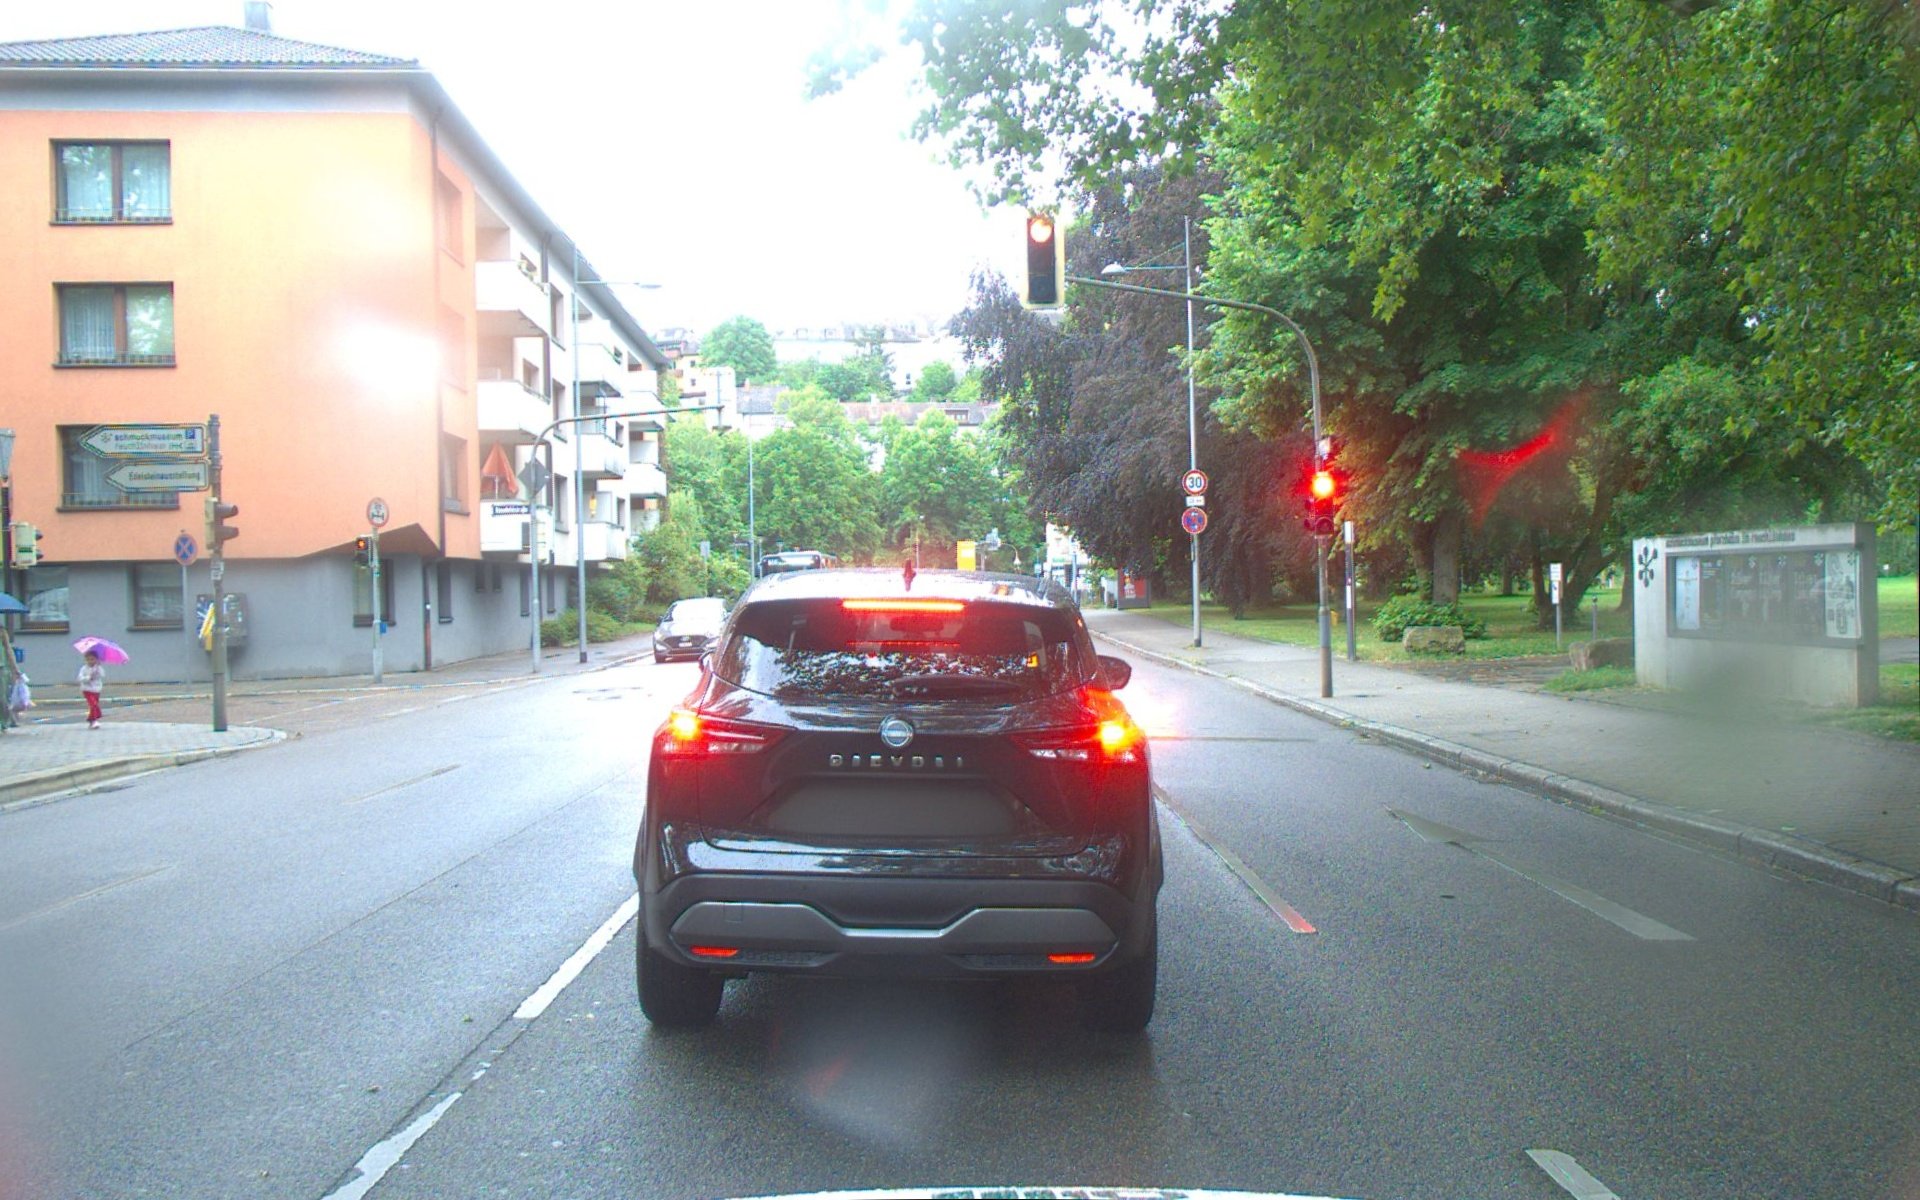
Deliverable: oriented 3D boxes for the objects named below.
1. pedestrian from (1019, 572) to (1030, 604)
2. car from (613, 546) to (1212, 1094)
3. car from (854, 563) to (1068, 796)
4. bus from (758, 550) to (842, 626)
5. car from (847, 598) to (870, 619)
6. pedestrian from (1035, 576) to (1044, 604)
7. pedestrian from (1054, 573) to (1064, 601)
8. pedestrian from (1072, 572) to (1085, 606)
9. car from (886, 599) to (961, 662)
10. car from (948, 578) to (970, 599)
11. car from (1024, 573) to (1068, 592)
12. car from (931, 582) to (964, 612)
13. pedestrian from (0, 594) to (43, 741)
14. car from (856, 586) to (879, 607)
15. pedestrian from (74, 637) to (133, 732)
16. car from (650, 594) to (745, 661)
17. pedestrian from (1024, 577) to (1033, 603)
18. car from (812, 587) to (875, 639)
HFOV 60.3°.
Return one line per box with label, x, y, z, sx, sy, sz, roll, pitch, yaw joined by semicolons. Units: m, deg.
pedestrian;4.515;-0.830;115.406;0.752;2.222;0.711;1;-1;2
car;-0.165;0.669;6.961;1.769;1.618;3.999;1;0;-1
car;0.033;0.599;14.641;1.588;1.738;3.771;-2;0;1
bus;-6.991;-0.498;73.797;2.710;3.026;11.779;-1;0;-1
car;-7.943;0.652;130.085;1.643;1.495;4.215;-3;1;-2
pedestrian;4.983;-0.621;103.423;0.504;1.684;0.550;1;-1;-1
pedestrian;6.418;-0.860;107.223;0.606;1.810;0.550;-2;0;-1
pedestrian;6.367;-0.584;88.771;0.606;1.810;0.778;-2;0;-1
car;-0.929;0.726;40.950;1.772;1.442;4.029;0;0;-2
car;-0.078;-0.955;136.407;1.714;1.662;3.634;-2;1;0
car;8.498;-1.759;164.037;3.916;1.713;1.995;-2;0;-11
car;-0.609;-0.150;83.176;1.591;1.439;3.454;-2;0;0
pedestrian;-11.932;0.810;20.445;0.980;1.772;1.199;1;0;-27
car;-7.764;-0.312;139.724;1.714;1.662;3.634;-2;1;0
pedestrian;-11.318;1.102;21.875;0.676;1.195;0.819;1;0;-27
car;-6.418;0.637;40.810;1.772;1.441;4.029;-3;1;-2
pedestrian;4.327;-0.626;104.540;0.533;1.680;0.490;1;-1;0
car;-3.399;0.361;48.734;1.591;1.439;3.454;-2;0;0
